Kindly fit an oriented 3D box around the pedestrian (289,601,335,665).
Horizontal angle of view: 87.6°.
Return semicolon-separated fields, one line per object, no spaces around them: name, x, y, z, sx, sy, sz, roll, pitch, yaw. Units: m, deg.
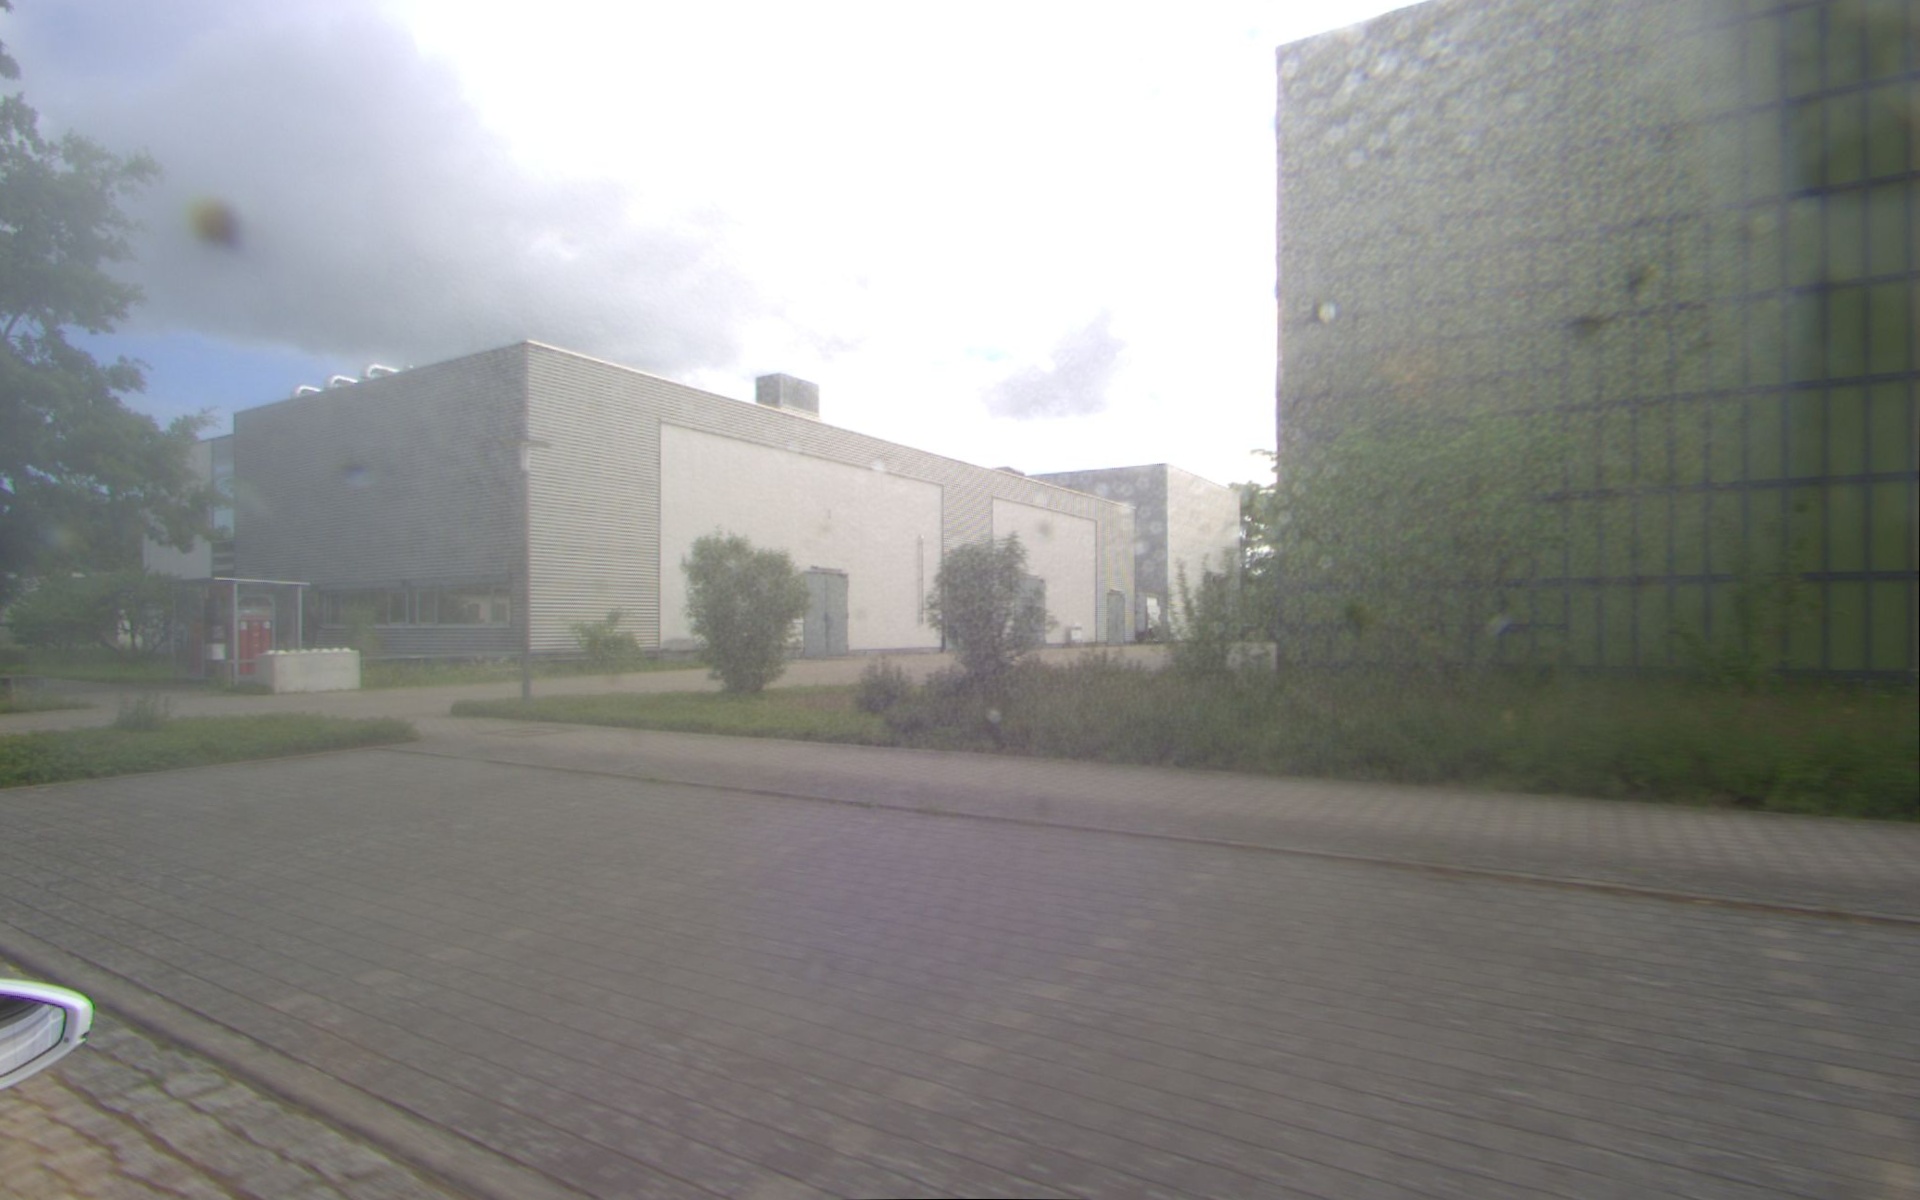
pedestrian;-20.367;1.031;31.493;0.838;1.961;0.920;0;-1;2
